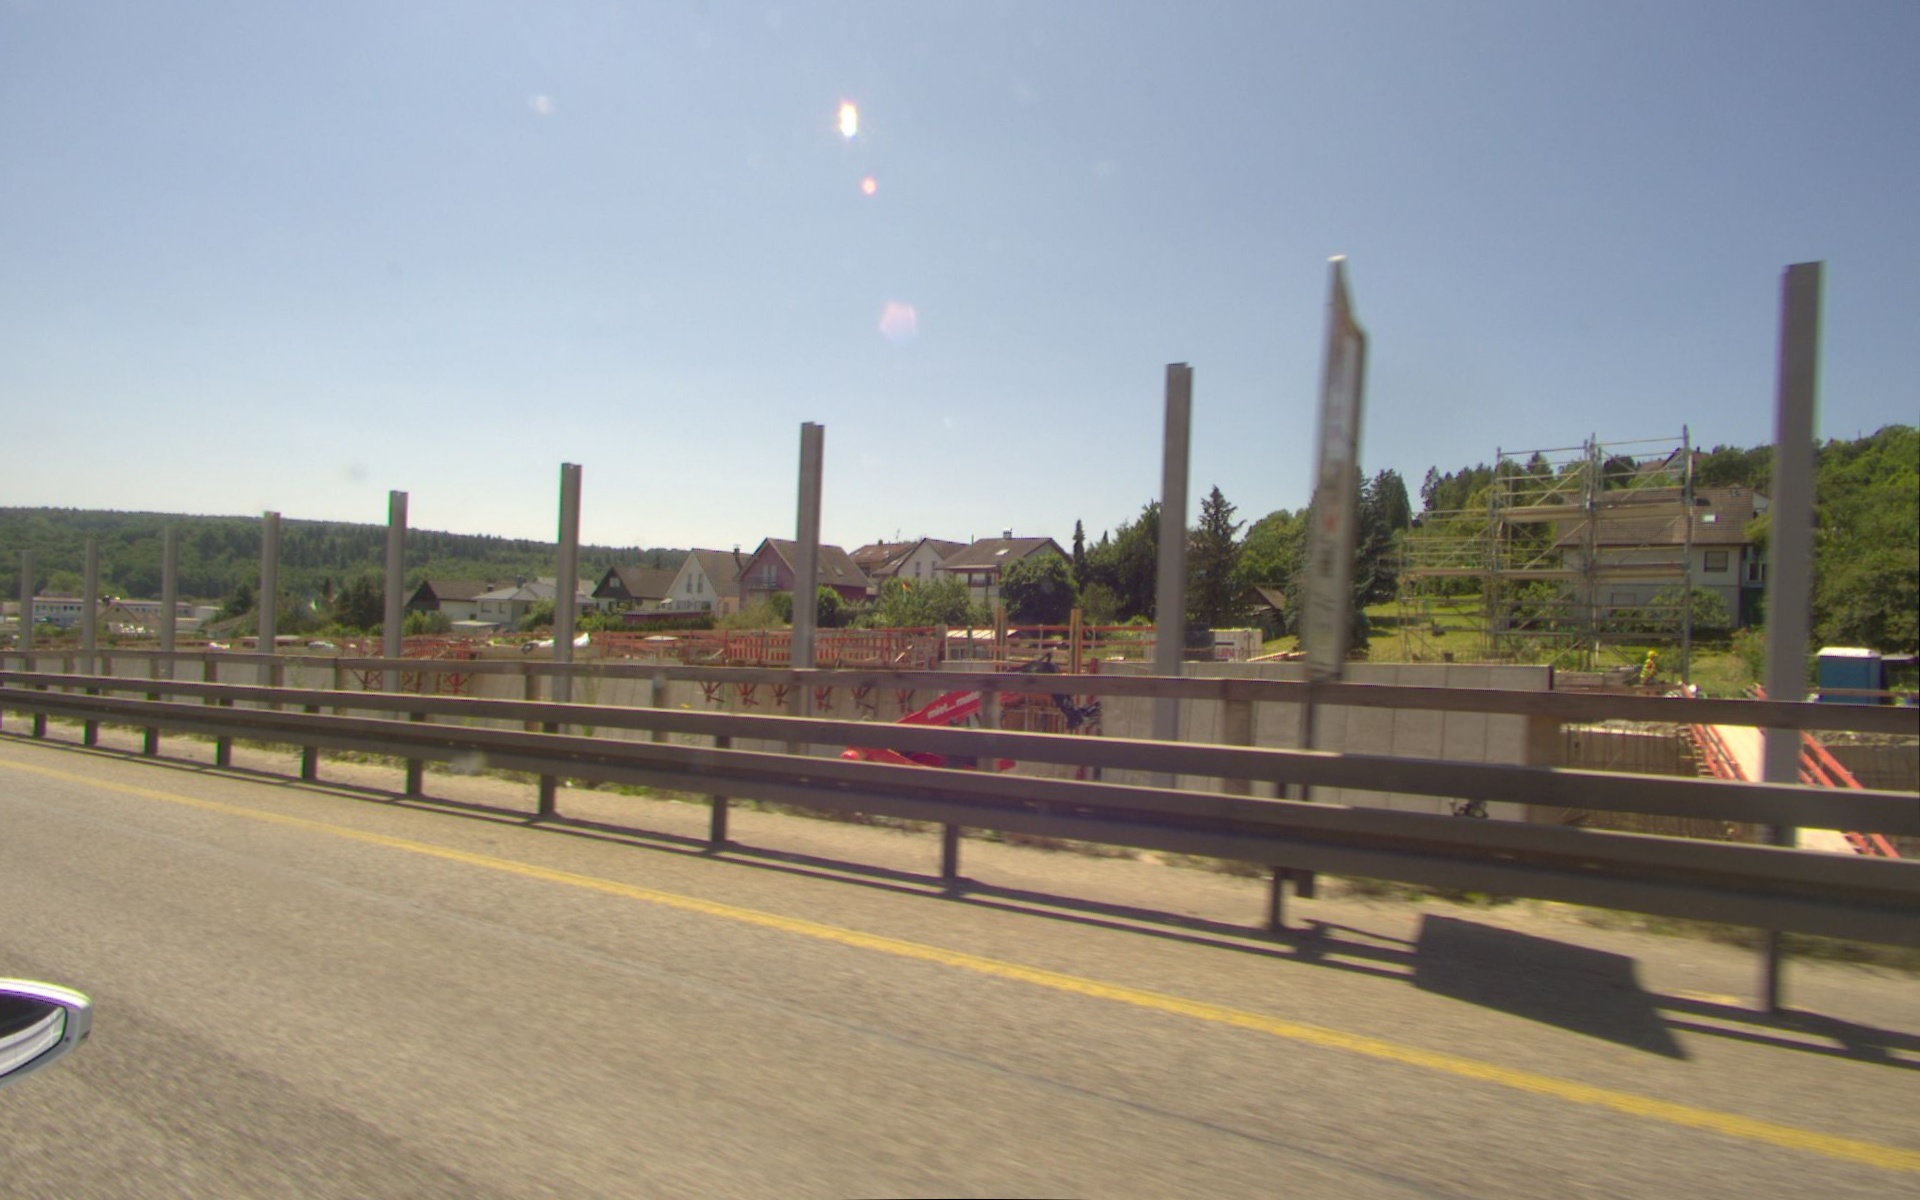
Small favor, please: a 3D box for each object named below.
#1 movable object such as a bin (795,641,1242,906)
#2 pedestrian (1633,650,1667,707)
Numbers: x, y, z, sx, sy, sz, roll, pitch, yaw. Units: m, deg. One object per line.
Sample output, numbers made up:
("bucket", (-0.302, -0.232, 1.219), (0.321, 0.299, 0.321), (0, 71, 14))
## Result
("movable object such as a bin", (1.023, 3.385, 22.192), (9.519, 4.802, 3.222), (-2, -2, 32))
("pedestrian", (25.074, 2.846, 36.383), (0.960, 2.012, 1.134), (-2, -2, 36))
